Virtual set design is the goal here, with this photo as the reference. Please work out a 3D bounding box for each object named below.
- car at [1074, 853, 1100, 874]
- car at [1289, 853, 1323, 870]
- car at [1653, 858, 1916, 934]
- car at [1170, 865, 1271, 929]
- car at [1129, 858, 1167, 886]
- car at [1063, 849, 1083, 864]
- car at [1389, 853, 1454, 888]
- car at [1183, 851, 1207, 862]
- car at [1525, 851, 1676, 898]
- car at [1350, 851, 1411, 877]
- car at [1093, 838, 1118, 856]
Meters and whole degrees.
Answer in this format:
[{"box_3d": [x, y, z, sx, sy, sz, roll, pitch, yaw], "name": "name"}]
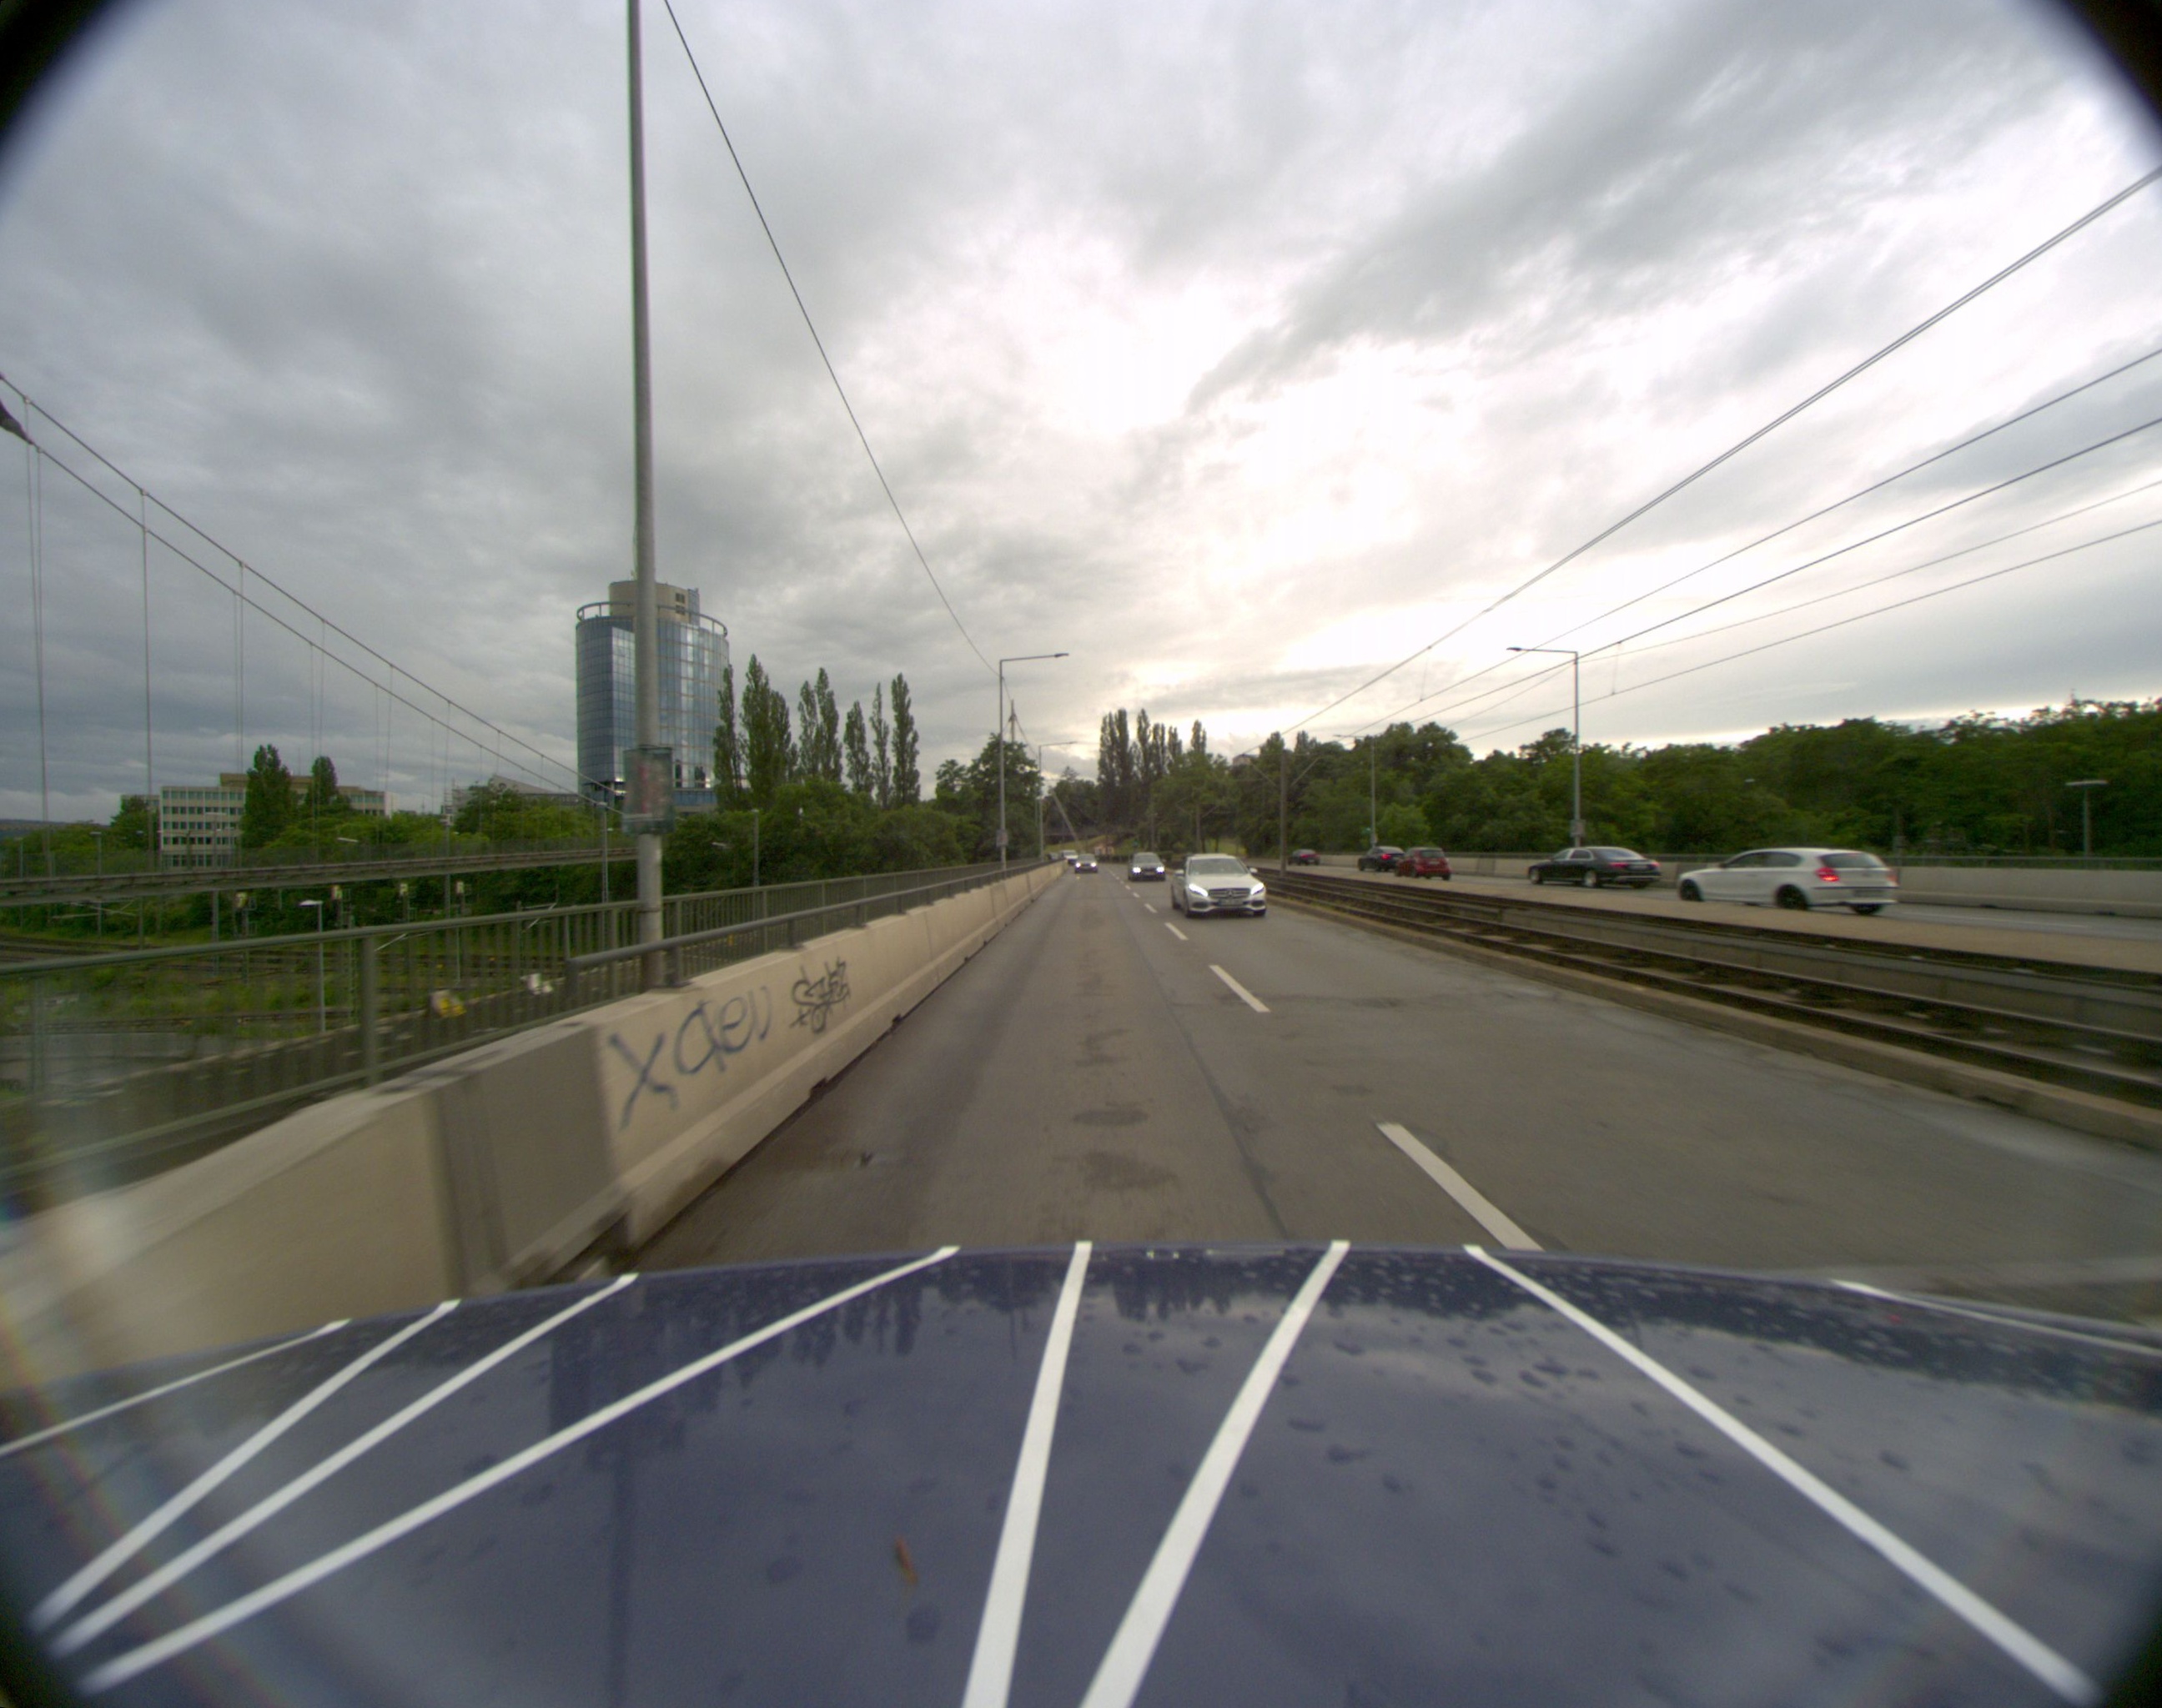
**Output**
[{"box_3d": [0.390, 0.663, 57.388, 1.768, 1.492, 3.999, -1, 0, -2], "name": "car"}, {"box_3d": [20.116, 0.647, 68.085, 1.821, 1.428, 4.741, 0, 0, 2], "name": "car"}, {"box_3d": [15.746, 0.852, 17.420, 1.734, 1.428, 4.490, 1, 1, -2], "name": "car"}, {"box_3d": [3.291, 0.971, 18.633, 1.871, 1.348, 4.061, 0, 0, 2], "name": "car"}, {"box_3d": [3.481, 0.926, 40.040, 1.736, 1.344, 4.000, -1, 0, 2], "name": "car"}, {"box_3d": [-1.018, 0.269, 93.311, 1.769, 1.806, 3.996, -1, 0, -10], "name": "car"}, {"box_3d": [16.000, 0.732, 35.820, 1.605, 1.485, 3.016, 1, 1, -2], "name": "car"}, {"box_3d": [16.506, 0.380, 110.327, 1.843, 1.306, 4.614, -3, -1, -13], "name": "car"}, {"box_3d": [19.139, 0.730, 28.362, 1.974, 1.588, 5.184, 1, -1, -2], "name": "car"}, {"box_3d": [19.148, 0.633, 48.828, 1.901, 1.588, 4.731, 1, -1, -2], "name": "car"}, {"box_3d": [4.329, -1.199, 136.159, 2.399, 3.097, 6.347, -1, 0, -18], "name": "car"}]
